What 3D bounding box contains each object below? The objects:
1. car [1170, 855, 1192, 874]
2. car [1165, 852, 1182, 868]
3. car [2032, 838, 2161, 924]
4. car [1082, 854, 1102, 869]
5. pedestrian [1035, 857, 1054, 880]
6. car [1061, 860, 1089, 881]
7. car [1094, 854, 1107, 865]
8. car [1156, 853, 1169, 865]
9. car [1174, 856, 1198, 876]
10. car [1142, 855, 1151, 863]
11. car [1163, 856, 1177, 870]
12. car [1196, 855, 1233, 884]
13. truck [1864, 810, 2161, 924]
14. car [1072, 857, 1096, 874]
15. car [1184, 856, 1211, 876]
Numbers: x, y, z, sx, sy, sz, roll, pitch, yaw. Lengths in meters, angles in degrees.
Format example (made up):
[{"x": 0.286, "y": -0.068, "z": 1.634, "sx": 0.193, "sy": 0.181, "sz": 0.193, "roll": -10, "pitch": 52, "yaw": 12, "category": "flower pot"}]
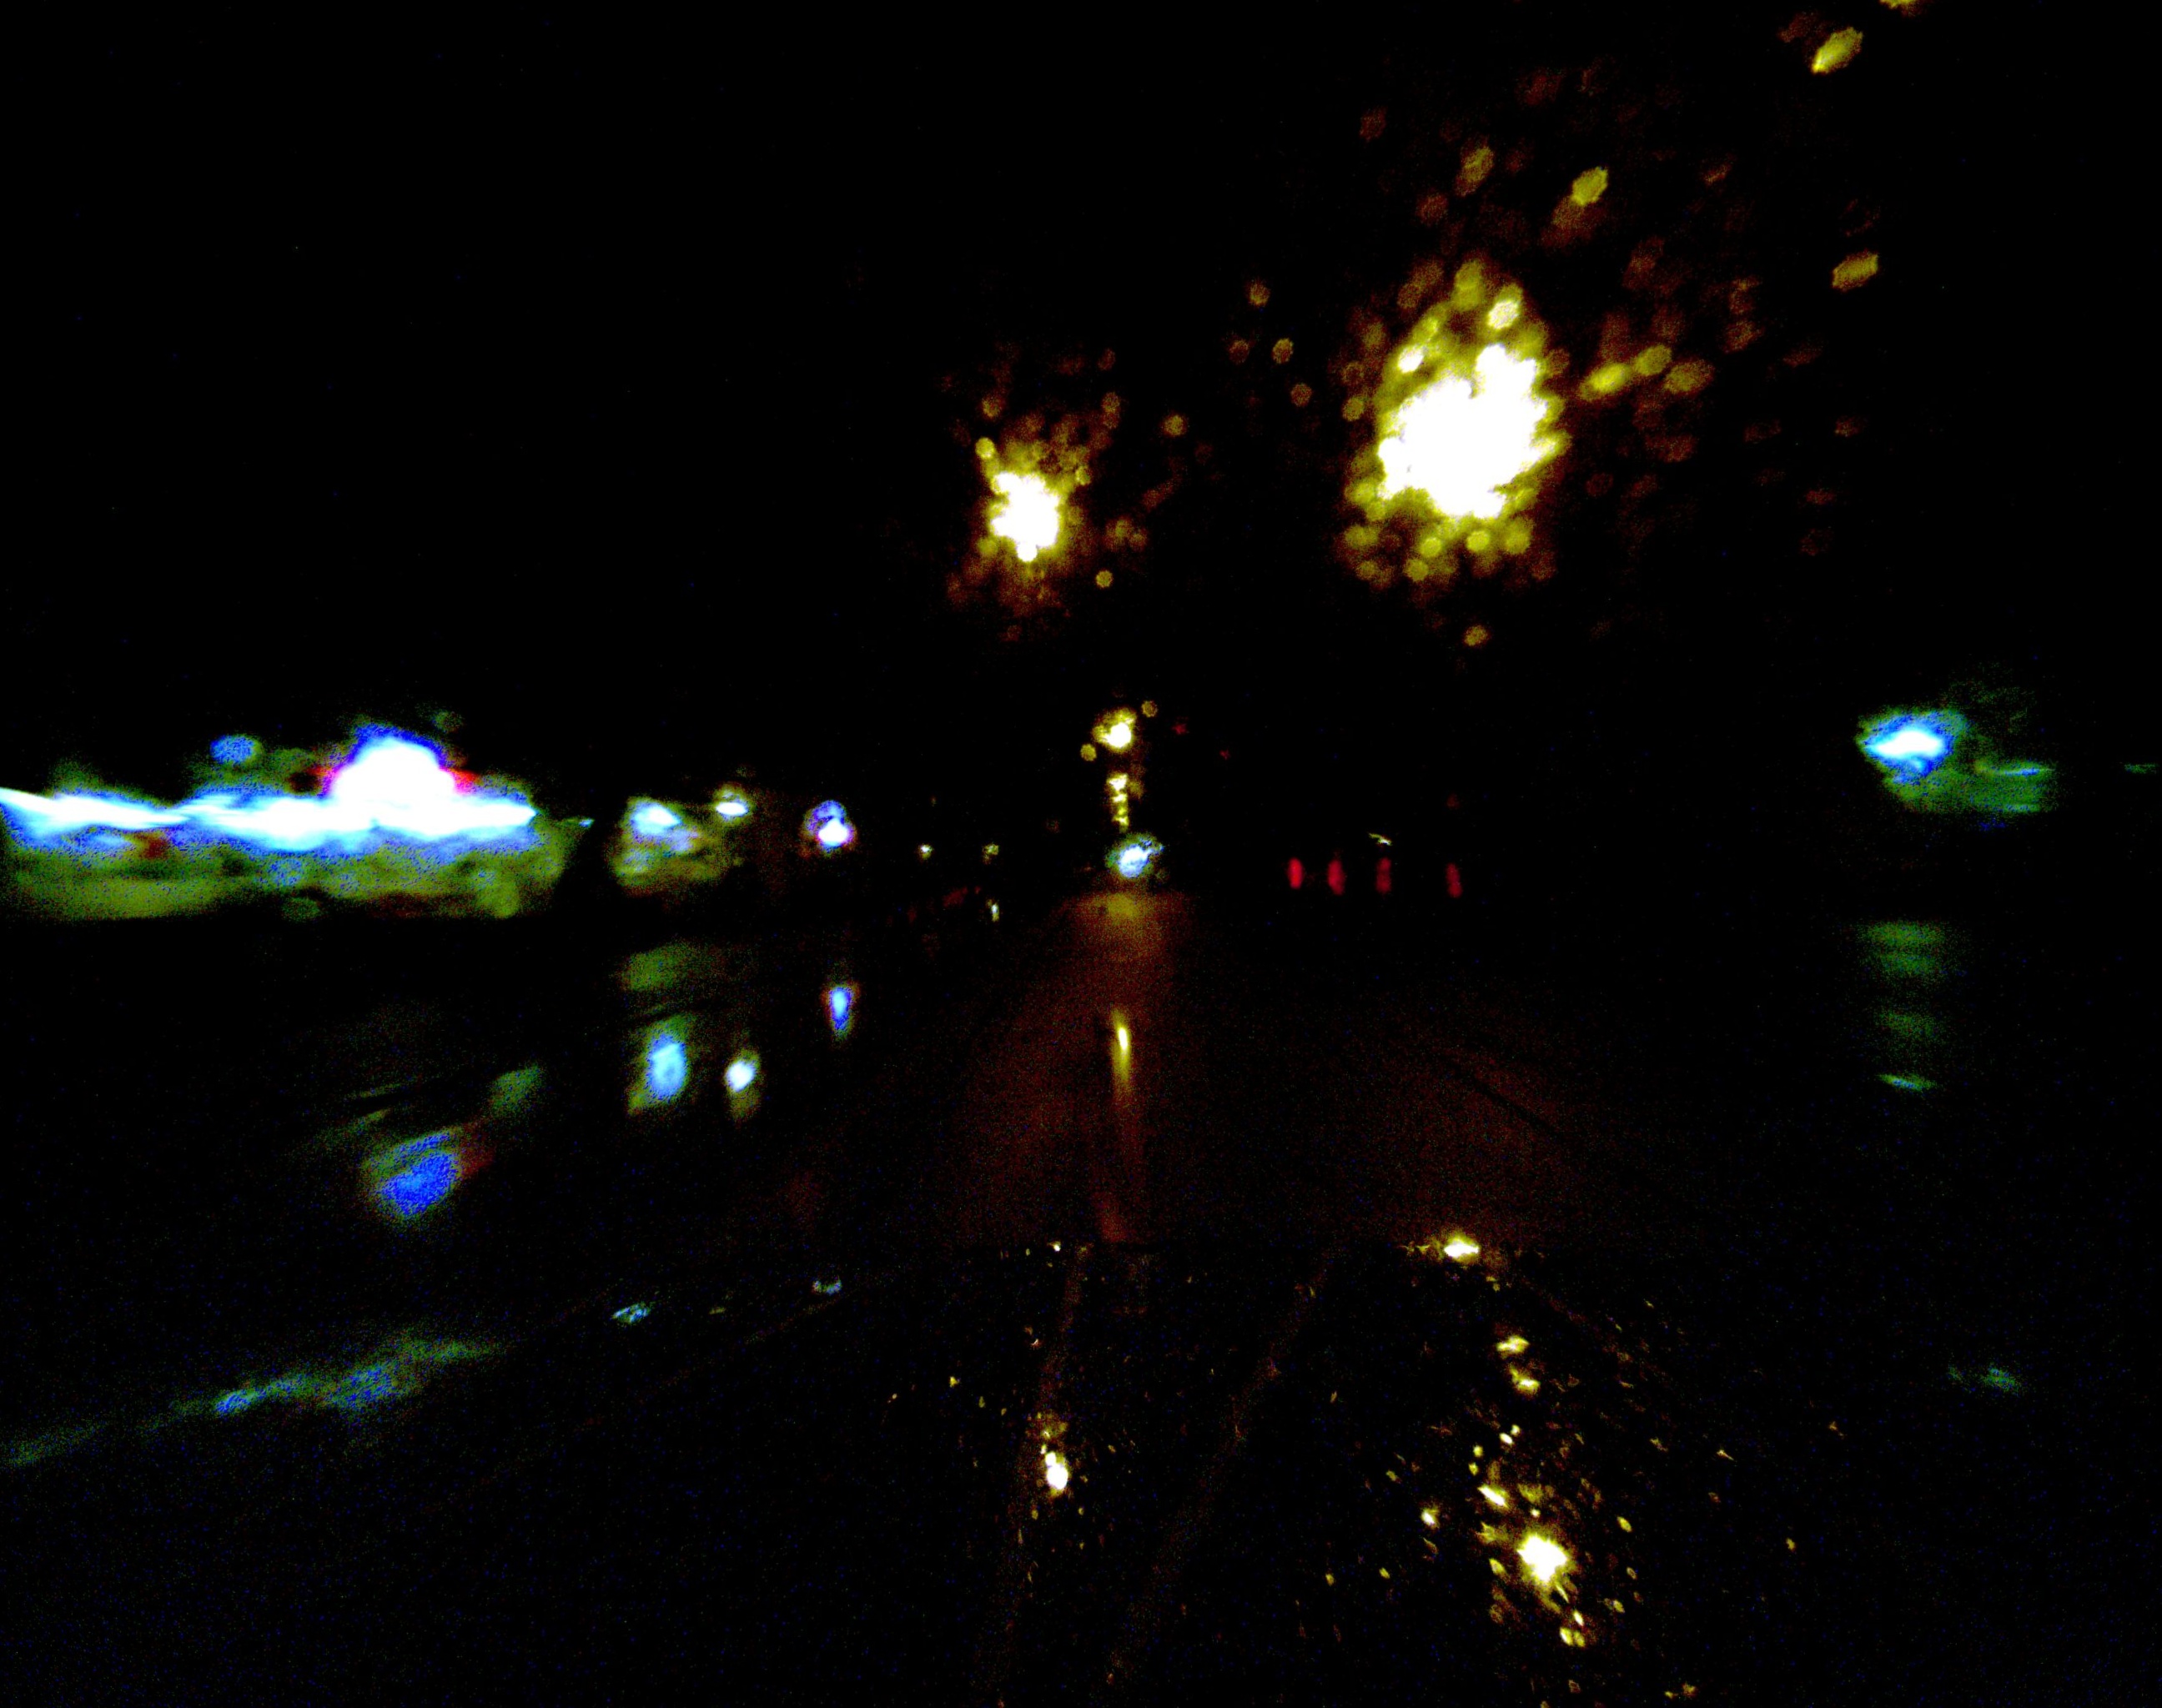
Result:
[{"x": 8.648, "y": 0.866, "z": 66.135, "sx": 1.601, "sy": 1.596, "sz": 4.259, "roll": 2, "pitch": 0, "yaw": 4, "category": "car"}, {"x": 9.812, "y": 0.610, "z": 80.499, "sx": 1.477, "sy": 1.610, "sz": 3.374, "roll": 1, "pitch": 0, "yaw": 2, "category": "car"}, {"x": 21.827, "y": 0.503, "z": 14.968, "sx": 1.866, "sy": 1.603, "sz": 4.501, "roll": -1, "pitch": 0, "yaw": 22, "category": "car"}, {"x": 1.262, "y": 0.820, "z": 82.586, "sx": 1.828, "sy": 1.539, "sz": 4.354, "roll": 0, "pitch": 0, "yaw": 6, "category": "car"}, {"x": -2.474, "y": 0.984, "z": 52.086, "sx": 1.052, "sy": 1.566, "sz": 1.019, "roll": -2, "pitch": 0, "yaw": 8, "category": "pedestrian"}, {"x": -0.422, "y": 1.230, "z": 57.709, "sx": 1.827, "sy": 1.521, "sz": 4.784, "roll": 0, "pitch": 0, "yaw": 3, "category": "car"}, {"x": 2.791, "y": 0.867, "z": 109.420, "sx": 1.799, "sy": 1.482, "sz": 4.130, "roll": 0, "pitch": -2, "yaw": 1, "category": "car"}, {"x": 11.219, "y": 0.700, "z": 104.870, "sx": 1.669, "sy": 1.531, "sz": 4.392, "roll": -2, "pitch": 0, "yaw": 4, "category": "car"}, {"x": 8.452, "y": 0.934, "z": 61.259, "sx": 1.601, "sy": 1.478, "sz": 4.275, "roll": 2, "pitch": 0, "yaw": 4, "category": "car"}, {"x": 13.033, "y": 0.996, "z": 151.197, "sx": 1.627, "sy": 1.464, "sz": 3.964, "roll": 0, "pitch": 0, "yaw": 5, "category": "car"}, {"x": 9.998, "y": 1.022, "z": 85.589, "sx": 1.434, "sy": 1.452, "sz": 3.375, "roll": 2, "pitch": 0, "yaw": 5, "category": "car"}, {"x": 7.822, "y": 0.885, "z": 44.794, "sx": 1.601, "sy": 1.555, "sz": 4.381, "roll": 2, "pitch": 0, "yaw": 4, "category": "car"}, {"x": 19.436, "y": 0.251, "z": 15.957, "sx": 2.125, "sy": 2.001, "sz": 5.271, "roll": -1, "pitch": -1, "yaw": 21, "category": "truck"}, {"x": 0.301, "y": 0.979, "z": 65.661, "sx": 1.827, "sy": 1.413, "sz": 4.489, "roll": 0, "pitch": 0, "yaw": 3, "category": "car"}, {"x": 8.444, "y": 0.846, "z": 55.340, "sx": 1.602, "sy": 1.365, "sz": 4.068, "roll": -1, "pitch": 0, "yaw": 4, "category": "car"}]
